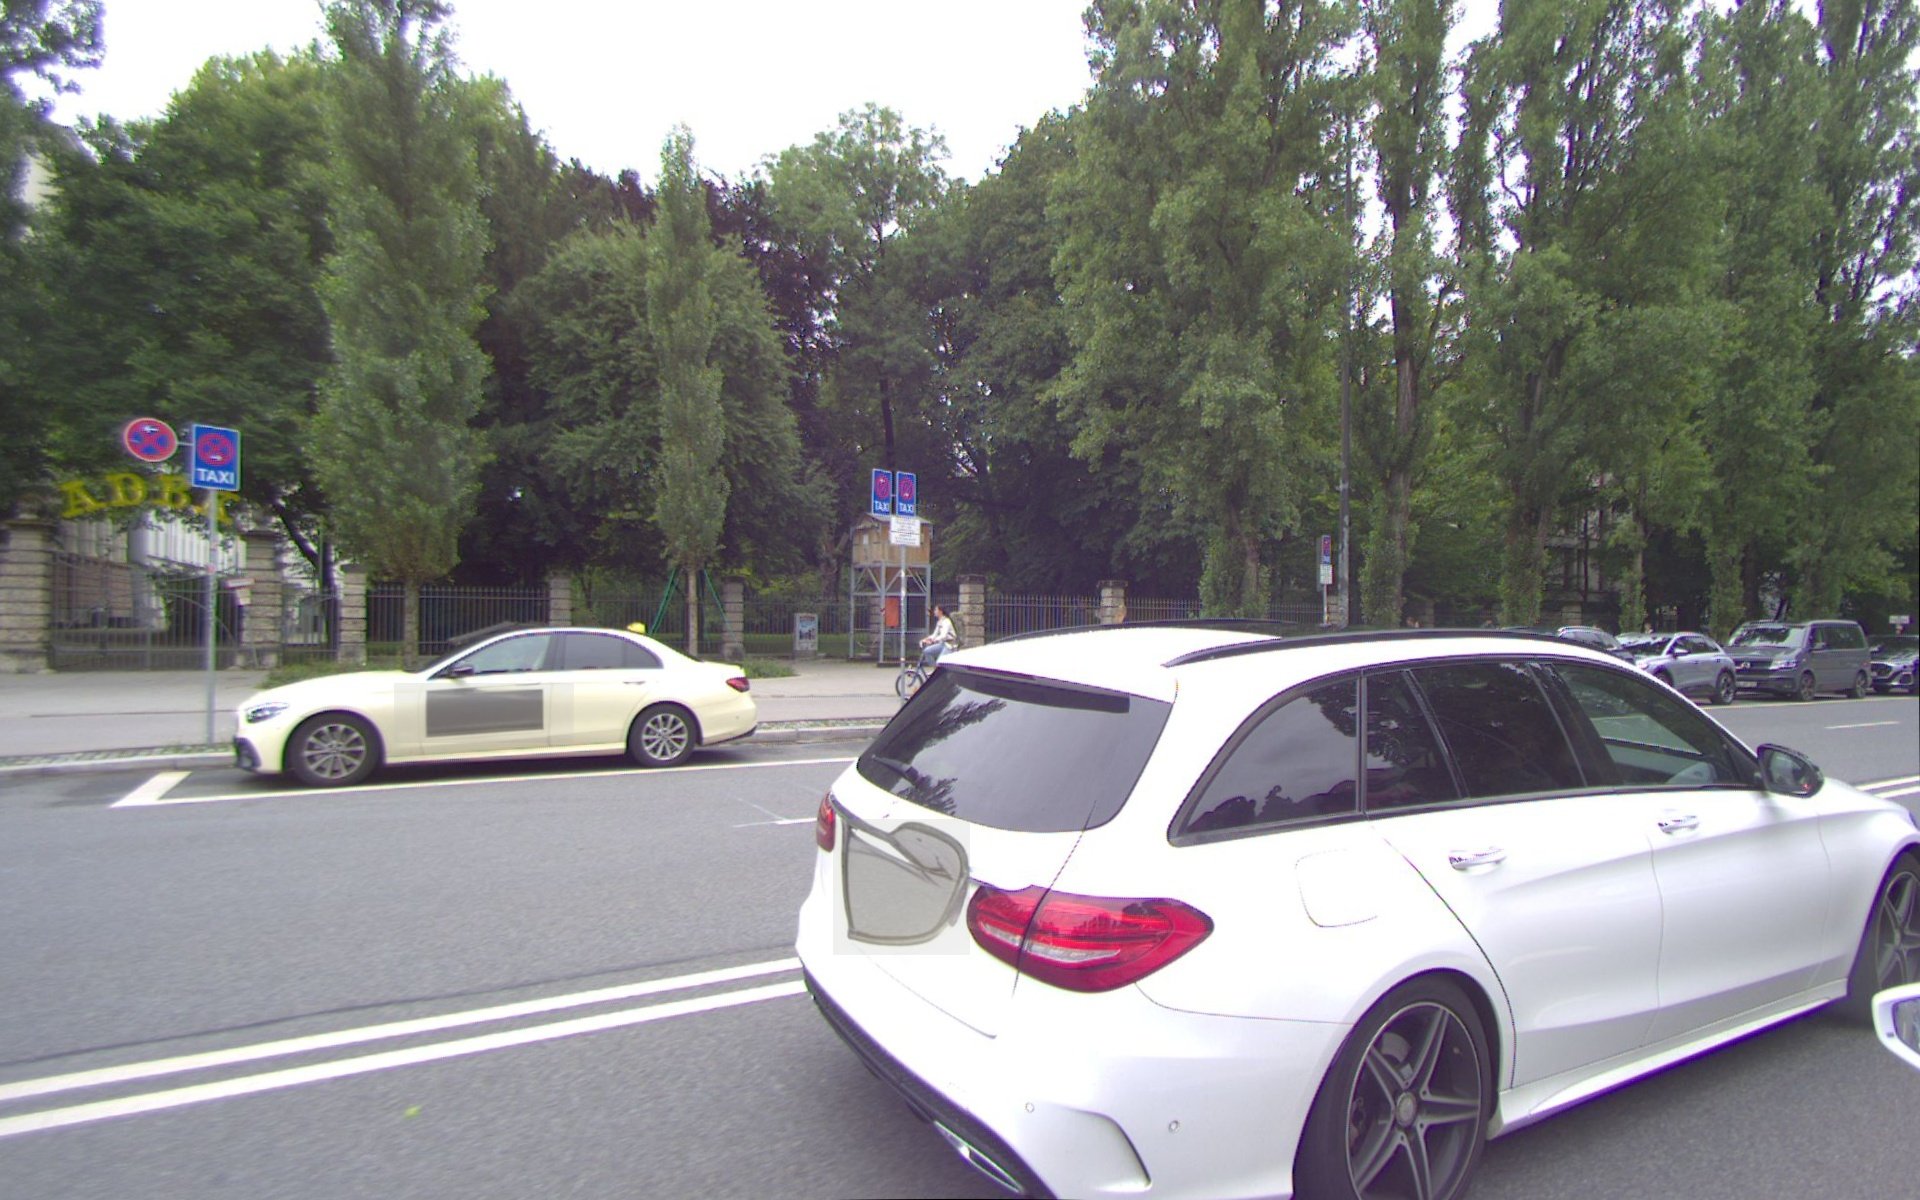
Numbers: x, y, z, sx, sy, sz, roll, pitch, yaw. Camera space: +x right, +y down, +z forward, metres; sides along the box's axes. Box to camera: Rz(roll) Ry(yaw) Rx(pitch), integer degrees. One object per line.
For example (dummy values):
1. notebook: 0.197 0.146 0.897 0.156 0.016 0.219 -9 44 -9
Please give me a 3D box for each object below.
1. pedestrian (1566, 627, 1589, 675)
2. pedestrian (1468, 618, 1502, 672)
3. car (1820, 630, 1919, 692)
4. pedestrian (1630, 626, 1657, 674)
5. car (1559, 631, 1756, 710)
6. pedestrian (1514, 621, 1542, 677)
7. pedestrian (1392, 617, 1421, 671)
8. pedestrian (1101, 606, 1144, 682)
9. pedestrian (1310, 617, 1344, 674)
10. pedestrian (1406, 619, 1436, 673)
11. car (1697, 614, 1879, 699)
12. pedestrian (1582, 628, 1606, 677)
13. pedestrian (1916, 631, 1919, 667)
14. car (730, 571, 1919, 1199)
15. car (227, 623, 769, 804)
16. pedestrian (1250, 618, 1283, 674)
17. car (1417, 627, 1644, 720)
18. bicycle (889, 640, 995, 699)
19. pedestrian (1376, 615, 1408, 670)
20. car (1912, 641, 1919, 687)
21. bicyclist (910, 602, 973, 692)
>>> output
1. pedestrian: 22.414 1.836 36.467 0.562 1.730 0.506 1 0 -29
2. pedestrian: 18.521 1.574 35.440 0.748 1.879 0.743 1 0 -29
3. car: 26.584 1.720 28.450 4.994 1.629 1.807 2 -4 -30
4. pedestrian: 25.672 1.886 37.730 0.748 1.780 0.605 1 -1 -31
5. car: 15.692 1.516 22.538 4.600 1.605 1.882 1 -2 -30
6. pedestrian: 19.361 1.660 34.243 0.714 1.884 0.506 1 0 -29
7. pedestrian: 14.453 1.428 32.495 0.714 1.730 0.506 1 0 -29
8. pedestrian: 3.820 1.029 23.594 0.778 1.743 0.579 1 0 -31
9. pedestrian: 10.868 1.339 29.738 0.696 1.682 0.615 1 0 -29
10. pedestrian: 14.612 1.449 31.845 0.665 1.691 0.547 1 0 -29
11. car: 21.058 1.394 25.512 4.879 1.982 1.984 1 -3 -30
12. pedestrian: 22.720 1.880 35.987 0.562 1.730 0.506 1 0 -29
13. pedestrian: 49.461 2.504 51.375 0.766 1.839 0.637 1 -1 -30
14. car: 1.663 0.741 3.633 4.528 1.474 1.817 2 0 -30
15. car: -4.564 1.003 10.474 4.731 1.517 1.923 1 -1 -29
16. pedestrian: 9.092 1.360 29.772 0.695 1.617 0.616 1 0 -28
17. car: 11.114 1.371 19.509 4.559 1.617 1.774 1 -3 -30
18. bicycle: -0.309 1.189 17.405 1.715 0.951 0.704 1 0 -31
19. pedestrian: 14.182 1.385 32.952 0.724 1.745 0.664 1 -1 -28
20. car: 32.100 2.043 31.856 4.188 1.440 1.669 2 -3 -30
21. bicyclist: -0.327 0.798 17.394 0.851 1.518 0.690 1 -1 -31
